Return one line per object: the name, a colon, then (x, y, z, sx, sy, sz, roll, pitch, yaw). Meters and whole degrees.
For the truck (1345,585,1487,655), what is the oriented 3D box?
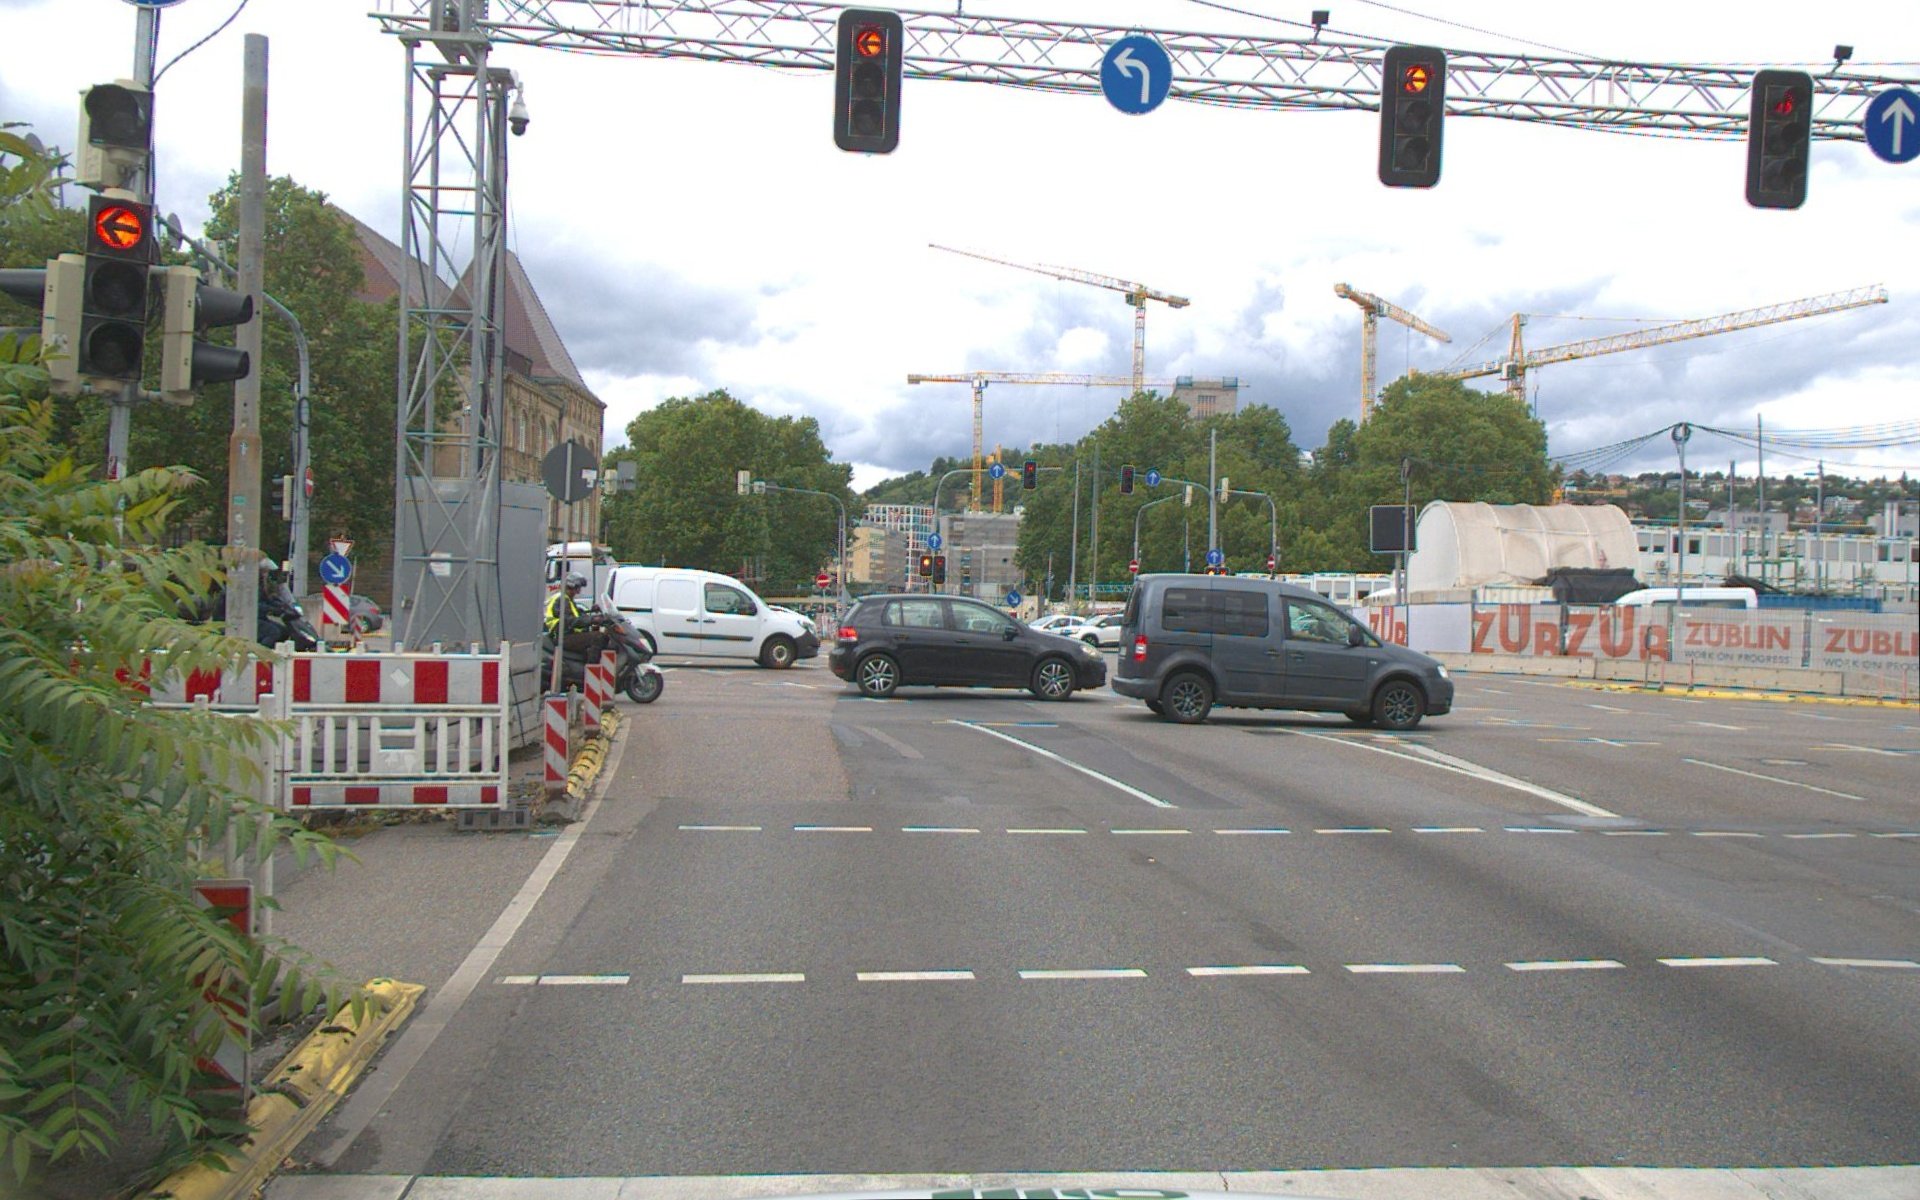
truck: (21.635, 0.961, 78.410, 6.495, 3.201, 2.349, 1, 0, -24)

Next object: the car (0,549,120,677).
car: (-14.735, 0.147, 23.432, 4.577, 1.732, 1.999, 1, 0, -3)

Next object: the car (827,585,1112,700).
car: (0.081, 0.612, 24.395, 4.026, 1.574, 1.998, 1, 0, -5)

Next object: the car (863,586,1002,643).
car: (-0.912, 0.459, 53.852, 4.104, 1.731, 1.955, 1, 0, -20)

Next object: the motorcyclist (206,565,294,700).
motorcyclist: (-8.743, 0.393, 20.397, 0.770, 1.624, 0.652, 1, -1, 0)

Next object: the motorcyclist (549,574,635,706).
motorcyclist: (-4.560, 0.490, 20.553, 0.860, 1.598, 0.817, 1, -1, 0)

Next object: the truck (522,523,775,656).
truck: (-12.508, -0.342, 66.644, 9.584, 5.047, 3.091, 1, -1, -24)

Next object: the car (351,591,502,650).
car: (-19.473, 0.764, 60.355, 5.061, 2.049, 2.062, 1, 0, -24)

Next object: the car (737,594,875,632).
car: (-6.125, 0.522, 65.907, 5.066, 1.444, 2.220, 1, 0, -24)

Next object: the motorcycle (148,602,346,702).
motorcycle: (-8.767, 0.635, 20.387, 2.123, 1.175, 0.652, 1, 0, 0)

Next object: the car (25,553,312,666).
car: (-13.961, 0.143, 29.295, 4.153, 1.866, 2.002, 1, 1, 8)

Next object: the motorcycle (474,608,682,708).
motorcycle: (-4.723, 0.708, 20.556, 2.373, 1.175, 0.817, 1, 0, 0)

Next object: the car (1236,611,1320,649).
car: (16.870, 1.575, 87.764, 3.932, 1.870, 1.986, 1, 0, 44)

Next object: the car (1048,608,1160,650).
car: (6.278, 1.281, 72.118, 4.524, 1.754, 1.894, 1, 0, -24)

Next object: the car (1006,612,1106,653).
car: (4.344, 1.465, 74.810, 4.093, 1.754, 1.894, 1, 0, -24)

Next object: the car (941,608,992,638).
car: (0.411, 1.452, 105.463, 1.965, 1.870, 3.975, 1, 0, -21)

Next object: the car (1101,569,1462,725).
car: (4.012, 0.576, 21.150, 4.183, 1.837, 1.999, 1, 0, -2)

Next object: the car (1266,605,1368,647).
car: (17.281, 1.256, 80.110, 4.508, 1.805, 1.985, 2, 2, -26)

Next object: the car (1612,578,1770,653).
car: (21.058, 0.446, 47.817, 3.902, 2.049, 2.001, 1, 0, 15)

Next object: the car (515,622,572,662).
car: (-20.552, 2.049, 81.745, 1.954, 1.870, 3.997, 1, 0, -3)

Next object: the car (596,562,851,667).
car: (-4.550, 0.289, 31.635, 4.629, 1.865, 1.862, 1, 0, -16)
